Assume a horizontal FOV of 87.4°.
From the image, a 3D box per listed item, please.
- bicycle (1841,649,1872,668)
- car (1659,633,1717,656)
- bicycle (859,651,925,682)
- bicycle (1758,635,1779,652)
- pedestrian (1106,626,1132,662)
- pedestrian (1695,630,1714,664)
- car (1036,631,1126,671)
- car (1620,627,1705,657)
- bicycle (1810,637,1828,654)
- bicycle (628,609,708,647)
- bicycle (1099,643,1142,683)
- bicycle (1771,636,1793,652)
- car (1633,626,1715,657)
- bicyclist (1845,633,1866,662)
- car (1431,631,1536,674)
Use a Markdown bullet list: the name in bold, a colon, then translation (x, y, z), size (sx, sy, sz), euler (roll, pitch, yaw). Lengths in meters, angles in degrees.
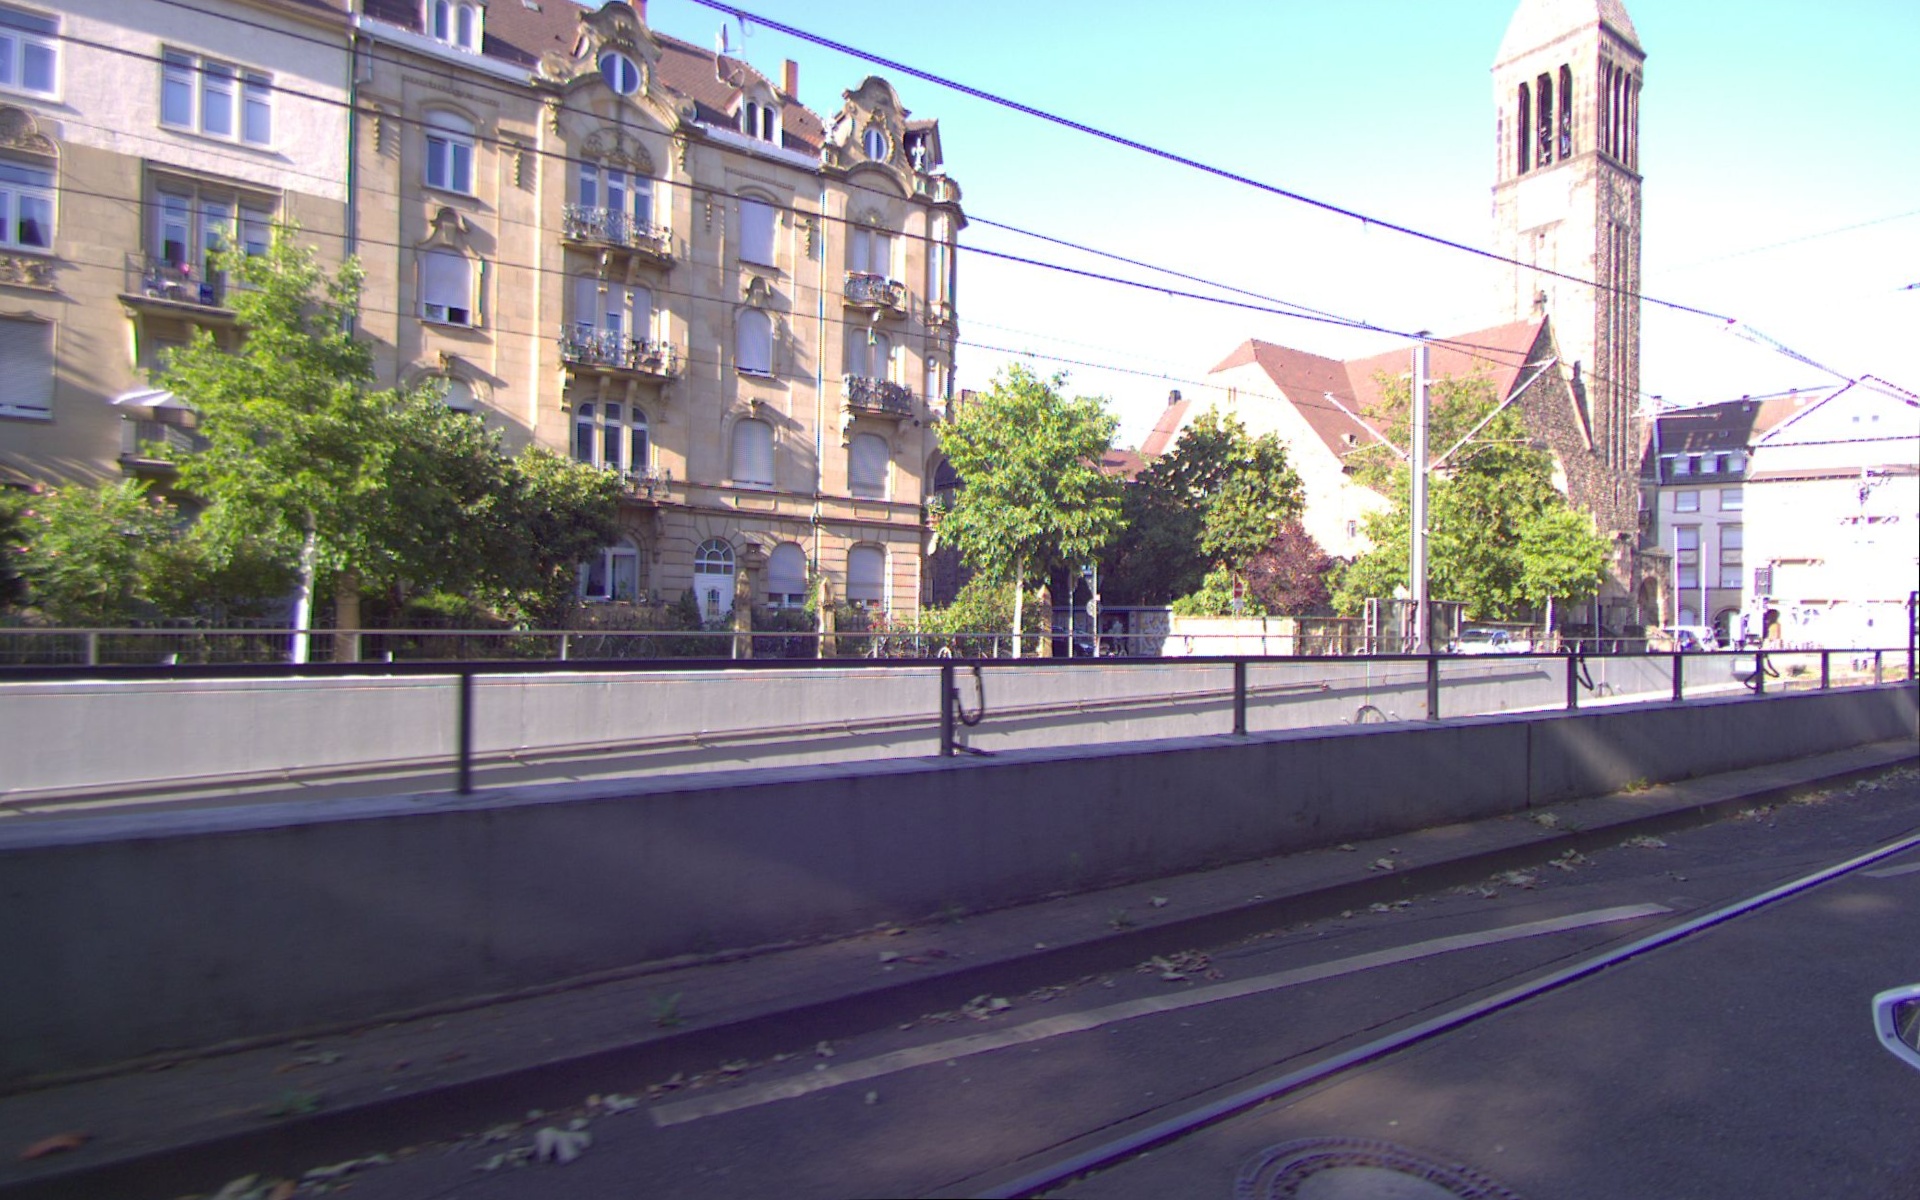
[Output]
- **bicycle**: translation (54.412, 3.545, 60.938), size (2.250, 1.159, 0.629), euler (1, -3, -28)
- **car**: translation (65.805, 4.005, 90.902), size (1.960, 1.776, 4.598), euler (2, 1, 1)
- **bicycle**: translation (-1.898, 1.866, 28.218), size (1.866, 0.811, 0.414), euler (1, 1, -32)
- **bicycle**: translation (70.613, 3.779, 87.712), size (0.808, 1.300, 2.562), euler (2, 1, 25)
- **pedestrian**: translation (7.459, 2.055, 47.018), size (0.919, 1.609, 0.744), euler (1, 1, -18)
- **pedestrian**: translation (43.620, 2.749, 58.871), size (0.748, 1.913, 0.602), euler (1, 1, -31)
- **car**: translation (5.343, 2.232, 44.735), size (1.801, 1.673, 3.961), euler (1, -2, -35)
- **car**: translation (44.451, 2.641, 63.602), size (1.873, 1.651, 3.966), euler (1, 1, -31)
- **bicycle**: translation (73.681, 3.888, 86.138), size (2.546, 1.300, 0.814), euler (1, 1, -43)
- **bicycle**: translation (-8.153, 0.780, 28.114), size (2.087, 1.032, 0.502), euler (1, 1, -30)
- **bicycle**: translation (4.609, 1.787, 28.771), size (0.478, 1.036, 1.888), euler (2, 1, 32)
- **bicycle**: translation (71.418, 3.807, 87.315), size (0.808, 1.300, 2.562), euler (2, 1, 25)
- **car**: translation (46.572, 2.682, 65.592), size (1.873, 1.780, 3.966), euler (1, 1, -31)
- **bicyclist**: translation (54.278, 2.856, 60.900), size (0.904, 1.745, 0.629), euler (1, -3, -27)
- **car**: translation (20.899, 2.062, 40.050), size (4.460, 1.576, 1.706), euler (1, 1, -33)
